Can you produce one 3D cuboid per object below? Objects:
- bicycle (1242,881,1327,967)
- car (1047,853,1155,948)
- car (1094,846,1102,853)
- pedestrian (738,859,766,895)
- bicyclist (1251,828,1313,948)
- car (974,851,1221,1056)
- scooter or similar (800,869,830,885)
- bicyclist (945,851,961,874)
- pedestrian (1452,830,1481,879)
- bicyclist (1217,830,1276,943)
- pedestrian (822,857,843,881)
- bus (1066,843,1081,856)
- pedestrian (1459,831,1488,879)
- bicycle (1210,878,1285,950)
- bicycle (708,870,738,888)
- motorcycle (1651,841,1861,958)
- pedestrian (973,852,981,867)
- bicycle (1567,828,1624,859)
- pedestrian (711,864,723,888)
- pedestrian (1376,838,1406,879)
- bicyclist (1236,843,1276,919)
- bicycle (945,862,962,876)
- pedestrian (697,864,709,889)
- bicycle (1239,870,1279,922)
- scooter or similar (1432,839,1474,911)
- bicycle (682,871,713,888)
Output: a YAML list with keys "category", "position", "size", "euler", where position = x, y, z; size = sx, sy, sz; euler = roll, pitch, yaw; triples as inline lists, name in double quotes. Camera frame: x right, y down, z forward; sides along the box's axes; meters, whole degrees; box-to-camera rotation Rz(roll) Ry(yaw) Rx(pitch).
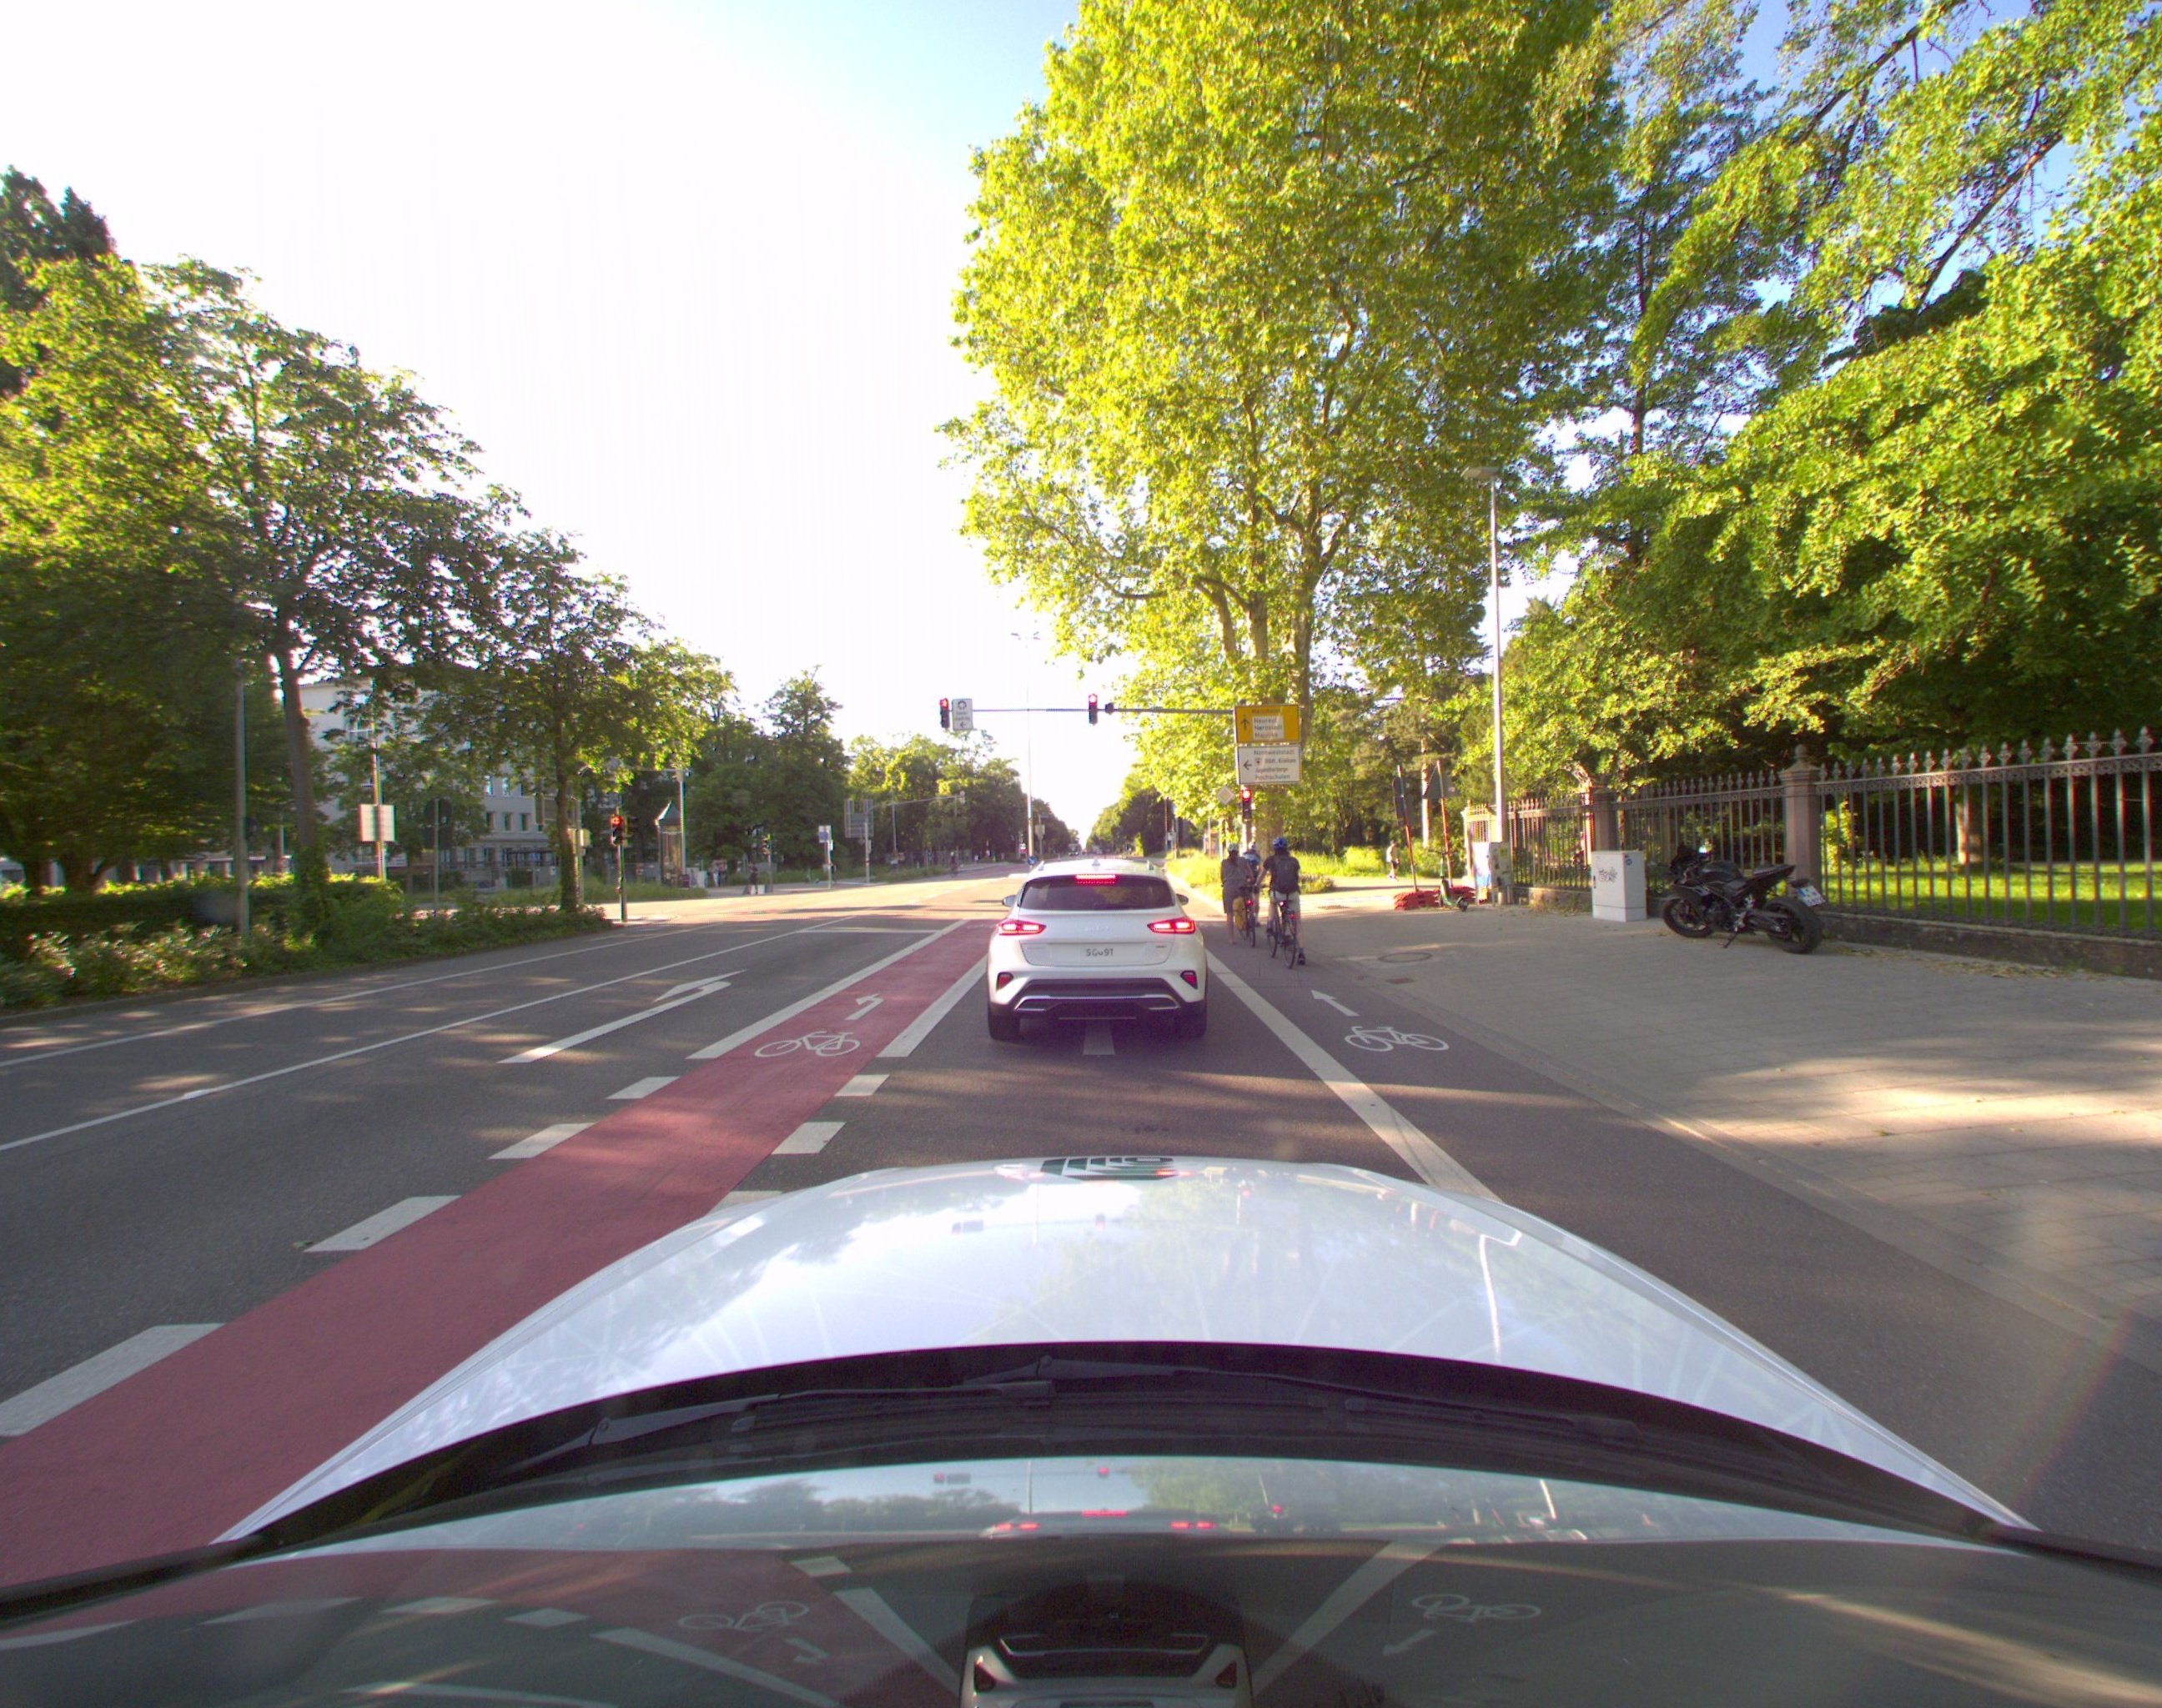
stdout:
- category: "bicycle"
  position: [2.771, 0.917, 11.319]
  size: [0.666, 1.009, 2.081]
  euler: [-1, 0, 0]
- category: "car"
  position: [0.341, 0.770, 15.201]
  size: [1.723, 1.483, 3.516]
  euler: [-3, 0, 0]
- category: "car"
  position: [5.424, -1.303, 257.281]
  size: [1.990, 2.013, 3.994]
  euler: [-3, 0, -4]
- category: "pedestrian"
  position: [-18.642, 1.283, 46.200]
  size: [0.990, 2.014, 1.193]
  euler: [-1, -1, 7]
- category: "bicyclist"
  position: [2.761, 0.448, 11.229]
  size: [0.663, 1.602, 0.721]
  euler: [-1, 0, 0]
- category: "car"
  position: [0.145, 0.738, 8.060]
  size: [1.815, 1.480, 3.936]
  euler: [-1, 0, 0]
- category: "scooter or similar"
  position: [-18.616, 1.605, 57.068]
  size: [0.703, 1.124, 1.933]
  euler: [-1, 0, 34]
- category: "bicyclist"
  position: [-9.492, 0.619, 60.606]
  size: [0.871, 1.608, 1.189]
  euler: [-3, 0, 4]
- category: "pedestrian"
  position: [13.641, 0.028, 28.824]
  size: [0.686, 1.699, 0.644]
  euler: [-1, -1, 1]
- category: "bicyclist"
  position: [2.735, 0.514, 13.554]
  size: [0.750, 1.795, 1.165]
  euler: [0, 0, 0]
- category: "pedestrian"
  position: [-17.075, 1.042, 55.928]
  size: [1.086, 1.603, 0.999]
  euler: [-3, 0, -5]
- category: "bus"
  position: [-2.195, -1.327, 234.845]
  size: [3.731, 3.673, 13.231]
  euler: [-2, 0, -2]
- category: "pedestrian"
  position: [14.240, 0.039, 29.571]
  size: [0.819, 1.681, 0.696]
  euler: [-2, -1, 15]
- category: "bicycle"
  position: [2.732, 0.948, 13.680]
  size: [0.755, 1.013, 2.569]
  euler: [0, 0, 0]
- category: "bicycle"
  position: [-24.081, 1.678, 54.778]
  size: [1.859, 1.148, 0.290]
  euler: [-1, -1, -6]
- category: "motorcycle"
  position: [7.462, 0.459, 9.169]
  size: [0.504, 1.131, 2.170]
  euler: [-4, 0, 0]
- category: "pedestrian"
  position: [-12.723, 0.648, 99.850]
  size: [0.782, 1.785, 0.751]
  euler: [-1, -1, 2]
- category: "bicycle"
  position: [17.589, -0.354, 27.859]
  size: [1.610, 1.015, 0.475]
  euler: [-1, -1, 1]
- category: "pedestrian"
  position: [-24.334, 1.489, 54.490]
  size: [0.628, 1.580, 0.444]
  euler: [-1, -1, -8]
- category: "pedestrian"
  position: [11.486, 0.165, 30.203]
  size: [0.814, 1.518, 0.917]
  euler: [-1, -1, 4]
- category: "bicyclist"
  position: [3.546, 0.538, 16.530]
  size: [0.552, 1.478, 0.717]
  euler: [-5, -1, 0]
- category: "bicycle"
  position: [-9.474, 1.116, 60.587]
  size: [0.660, 0.989, 2.507]
  euler: [-3, 0, 4]
- category: "pedestrian"
  position: [-25.421, 1.500, 54.730]
  size: [0.628, 1.642, 0.444]
  euler: [-1, -1, -8]
- category: "bicycle"
  position: [3.586, 0.824, 16.475]
  size: [0.400, 0.956, 1.551]
  euler: [-5, 0, 0]
- category: "scooter or similar"
  position: [7.217, 0.391, 15.823]
  size: [0.227, 1.327, 1.172]
  euler: [-3, 0, 0]
- category: "bicycle"
  position: [-25.923, 1.722, 55.020]
  size: [1.859, 1.148, 0.442]
  euler: [-1, -1, -6]
